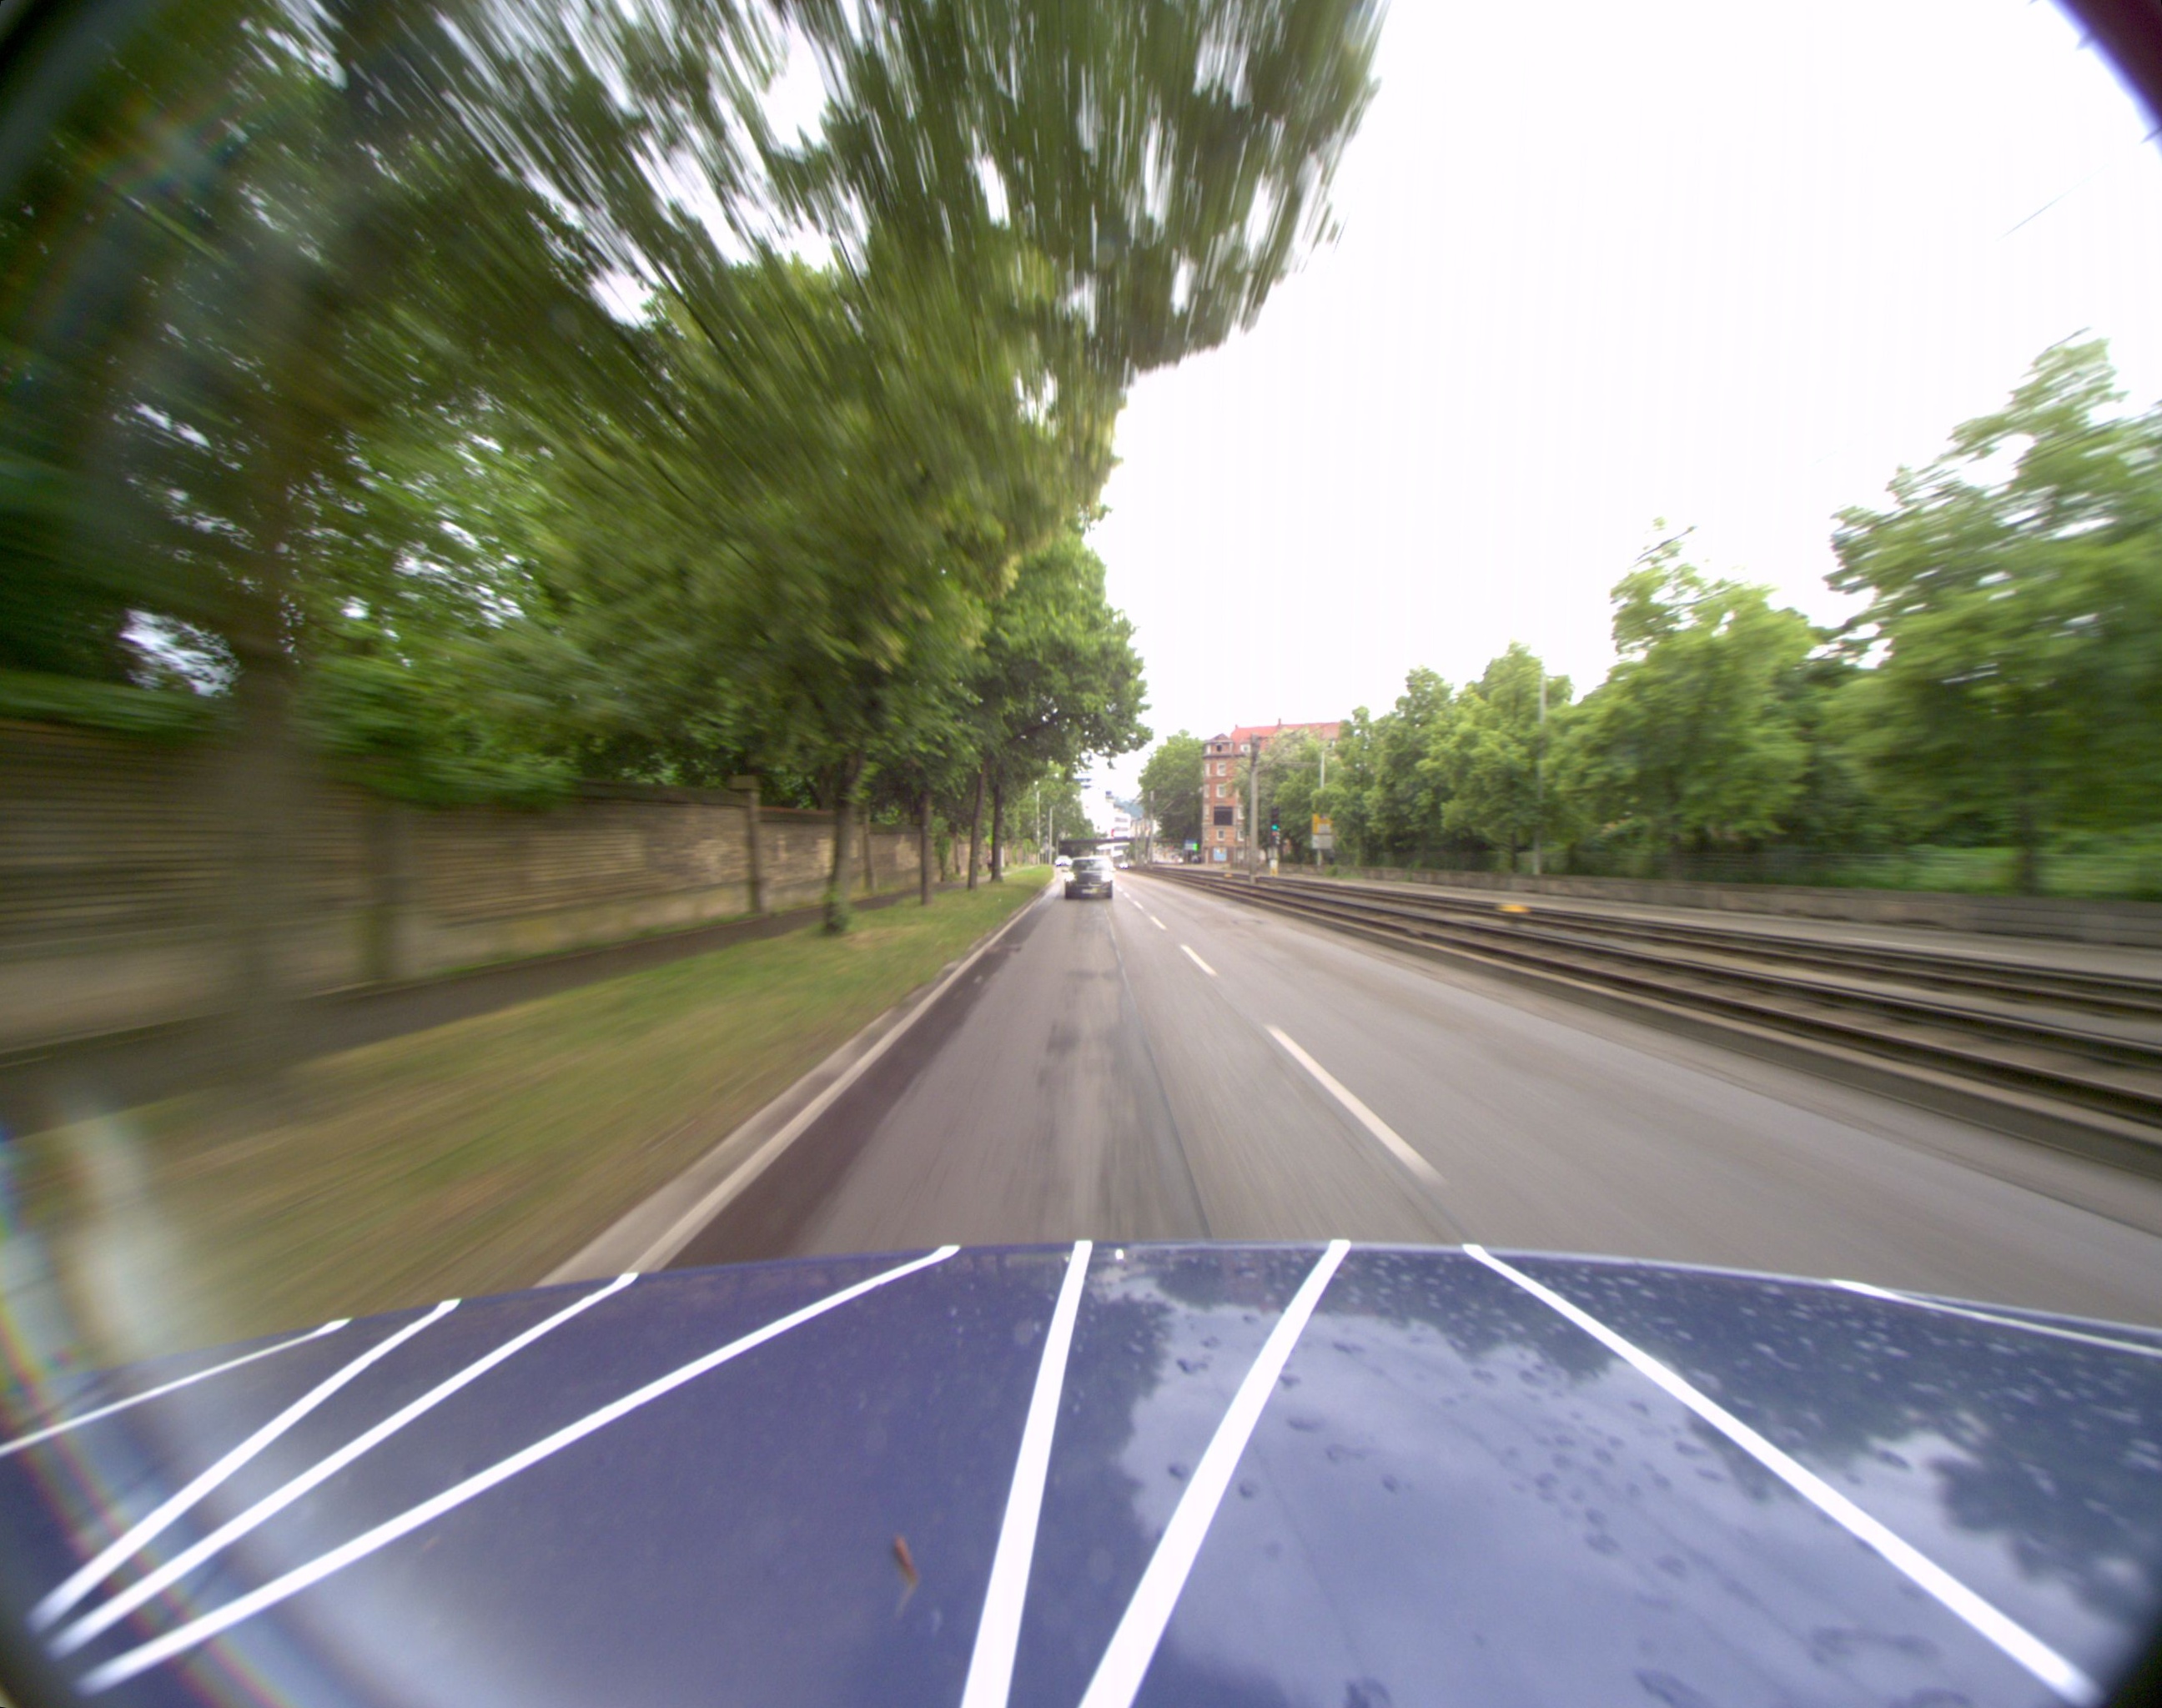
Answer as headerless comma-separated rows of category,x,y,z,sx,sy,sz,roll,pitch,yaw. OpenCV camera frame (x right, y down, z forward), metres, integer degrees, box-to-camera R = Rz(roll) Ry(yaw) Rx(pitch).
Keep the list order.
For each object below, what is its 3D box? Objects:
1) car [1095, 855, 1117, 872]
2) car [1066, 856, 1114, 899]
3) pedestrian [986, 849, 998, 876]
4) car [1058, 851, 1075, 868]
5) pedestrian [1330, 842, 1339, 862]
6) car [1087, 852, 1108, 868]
car,2.245,0.824,69.612,1.806,1.483,4.102,1,0,0
car,0.313,0.821,28.204,1.658,1.483,3.829,1,0,0
pedestrian,-5.964,0.546,50.764,0.710,1.769,0.900,0,0,-2
car,-1.794,0.699,97.544,1.998,2.002,4.000,-1,0,1
pedestrian,24.060,-0.184,72.244,0.597,1.892,0.654,-1,1,-3
car,1.699,0.619,81.224,1.807,1.484,4.099,-3,3,-3
